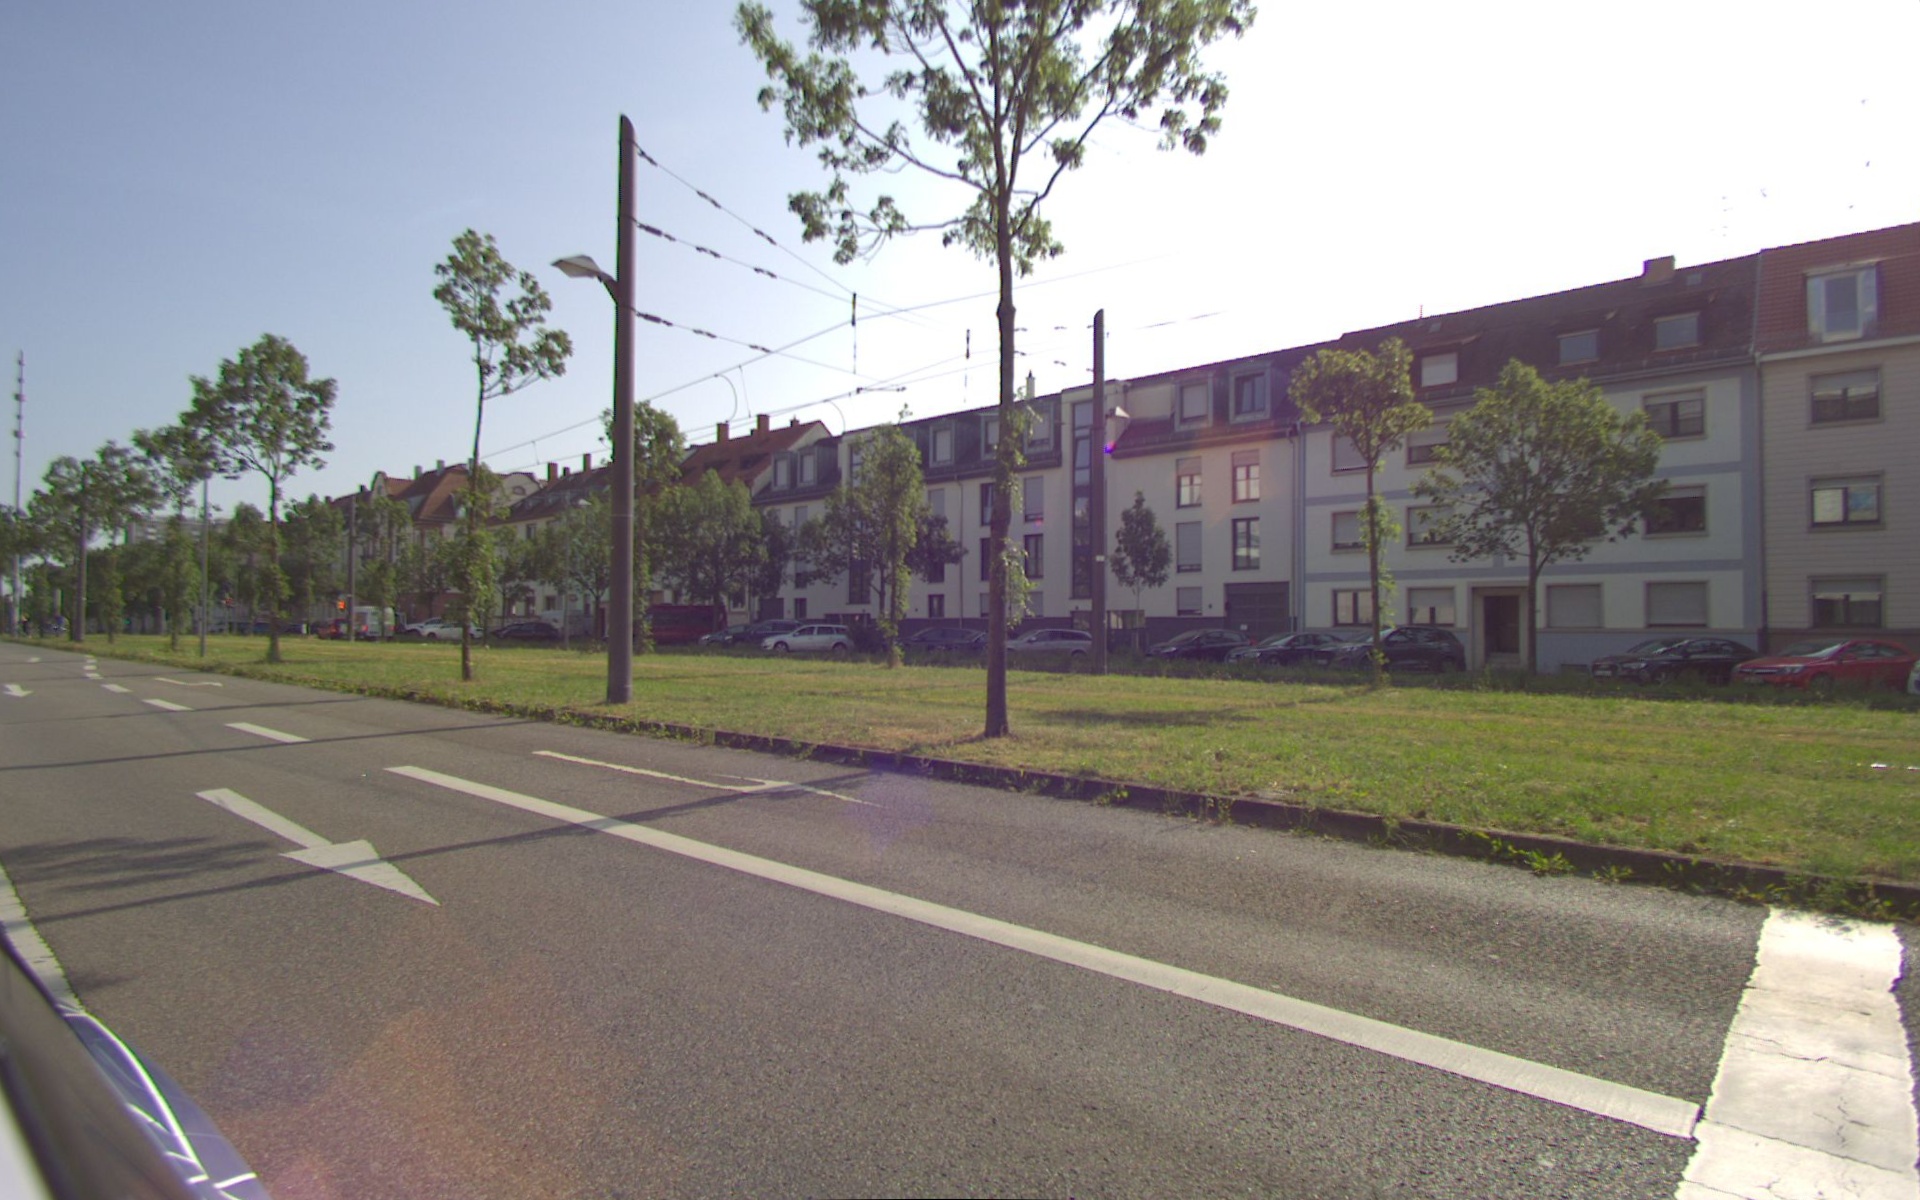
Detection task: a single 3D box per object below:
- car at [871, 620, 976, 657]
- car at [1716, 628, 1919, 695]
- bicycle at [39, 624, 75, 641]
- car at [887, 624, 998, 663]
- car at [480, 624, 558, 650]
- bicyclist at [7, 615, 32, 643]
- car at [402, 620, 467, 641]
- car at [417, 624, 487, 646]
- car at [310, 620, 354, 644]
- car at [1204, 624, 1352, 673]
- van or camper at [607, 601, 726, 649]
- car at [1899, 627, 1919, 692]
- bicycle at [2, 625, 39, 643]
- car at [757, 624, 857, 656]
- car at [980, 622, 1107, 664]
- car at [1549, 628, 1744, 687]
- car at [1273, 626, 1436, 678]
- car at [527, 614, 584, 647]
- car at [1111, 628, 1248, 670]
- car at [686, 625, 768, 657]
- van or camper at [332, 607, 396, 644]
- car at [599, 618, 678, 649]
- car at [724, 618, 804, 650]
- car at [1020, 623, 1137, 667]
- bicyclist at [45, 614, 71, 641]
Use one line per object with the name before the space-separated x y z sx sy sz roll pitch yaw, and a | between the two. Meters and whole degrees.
car | -1.524 1.575 42.111 3.931 1.386 1.842 -1 0 -21
car | 19.248 1.321 22.463 3.932 1.268 1.881 -1 0 -15
bicycle | -63.331 2.261 70.996 1.763 1.154 0.578 -1 0 -31
car | -0.709 1.674 39.778 3.931 1.386 1.933 -1 0 -21
car | -28.821 2.400 66.283 4.281 1.541 2.004 -1 0 -8
bicyclist | -62.970 1.921 67.777 0.901 1.836 0.866 0 -2 18
car | -39.859 2.301 76.833 4.032 1.541 1.817 -1 0 -10
car | -37.598 2.608 74.948 4.295 1.486 1.862 -1 0 -10
car | -47.647 2.406 76.789 4.162 1.751 1.796 -1 -4 44
car | 9.730 1.451 31.009 3.931 1.298 2.007 -1 0 -22
van or camper | -16.016 1.372 55.591 6.062 2.566 2.419 0 -1 -10
car | 21.381 1.181 20.396 3.931 1.279 1.892 -1 0 -18
bicycle | -62.955 2.280 67.839 0.571 1.154 1.743 0 -2 15
car | -7.036 1.814 46.427 4.325 1.330 1.739 -1 -1 -15
car | 3.101 1.571 37.790 4.265 1.386 2.007 -1 0 -22
car | 16.586 1.347 24.512 3.933 1.244 1.704 -1 0 -14
car | 11.263 1.443 28.965 3.989 1.298 2.006 -1 0 -20
car | -31.505 2.353 78.781 5.579 2.482 1.971 -1 0 44
car | 7.166 1.575 33.083 3.930 1.298 2.006 1 -2 -22
car | -11.675 2.034 50.754 3.933 1.431 1.786 -1 0 -13
van or camper | -42.474 1.836 72.065 6.057 2.493 2.118 -1 -4 42
car | -18.277 1.899 57.643 4.086 1.628 1.873 0 2 -9
car | -9.437 1.608 48.604 3.659 1.445 1.646 -1 -1 -15
car | 4.142 1.545 35.388 3.715 1.386 1.670 -1 0 -22
bicyclist | -63.209 1.907 70.946 1.168 1.864 0.913 -1 0 -30
